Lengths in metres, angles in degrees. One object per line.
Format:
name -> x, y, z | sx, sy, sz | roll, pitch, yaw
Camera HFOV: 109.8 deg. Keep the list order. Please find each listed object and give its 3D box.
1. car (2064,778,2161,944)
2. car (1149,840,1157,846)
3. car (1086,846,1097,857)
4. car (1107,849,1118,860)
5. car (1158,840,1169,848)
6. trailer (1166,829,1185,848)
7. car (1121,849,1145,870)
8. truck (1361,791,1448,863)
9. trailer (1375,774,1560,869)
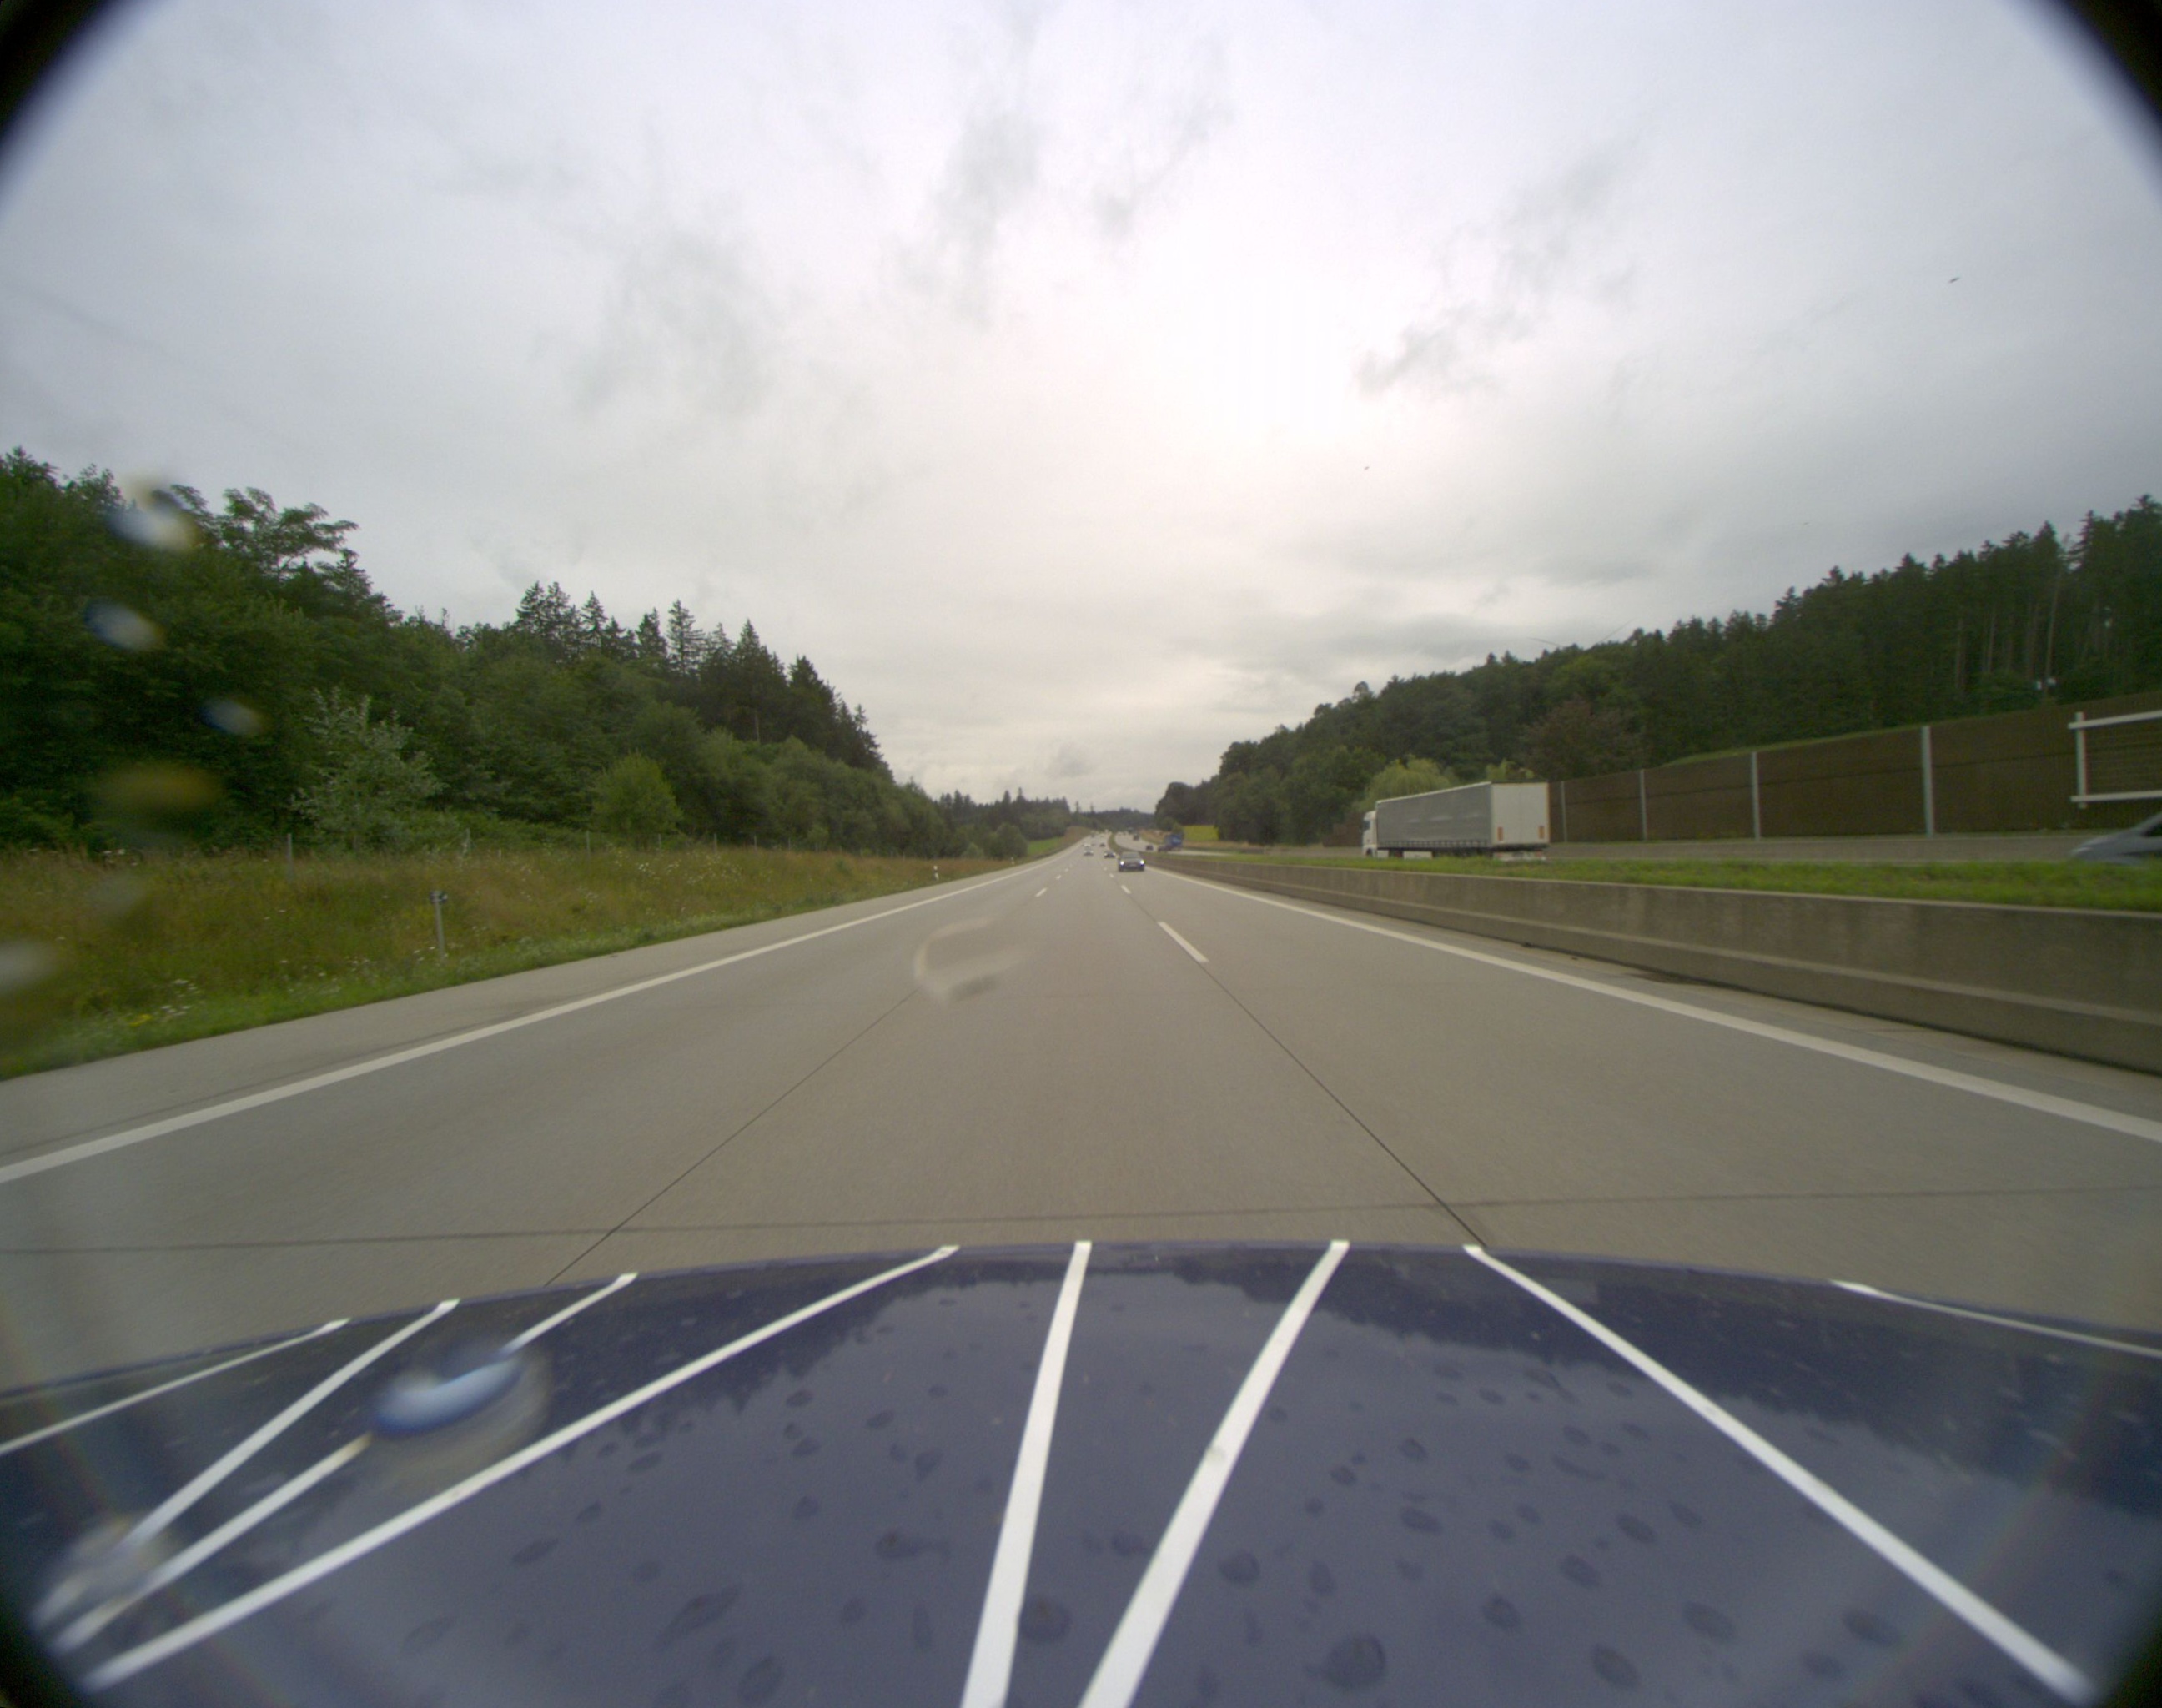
car -> 13.338, 0.070, 6.877 | 1.998, 1.908, 5.344 | -2, 1, 1
car -> 18.720, -2.812, 197.818 | 1.641, 1.492, 4.516 | -3, 2, 0
car -> 2.186, -0.489, 157.912 | 2.213, 2.002, 4.833 | -3, 2, 1
car -> 5.375, 0.047, 129.584 | 1.773, 1.783, 4.000 | -2, 1, 1
car -> 17.491, -2.128, 161.169 | 1.821, 1.757, 4.731 | -3, 1, 0
trailer -> 22.202, -3.810, 179.580 | 2.717, 4.185, 13.788 | -3, 2, 1
car -> 3.986, 0.376, 58.628 | 1.766, 1.455, 4.000 | -3, 0, 3
truck -> 19.874, -1.603, 47.086 | 2.689, 4.060, 6.216 | -3, 1, 1
trailer -> 19.839, -1.513, 40.640 | 2.704, 4.072, 14.003 | -3, 1, 0
